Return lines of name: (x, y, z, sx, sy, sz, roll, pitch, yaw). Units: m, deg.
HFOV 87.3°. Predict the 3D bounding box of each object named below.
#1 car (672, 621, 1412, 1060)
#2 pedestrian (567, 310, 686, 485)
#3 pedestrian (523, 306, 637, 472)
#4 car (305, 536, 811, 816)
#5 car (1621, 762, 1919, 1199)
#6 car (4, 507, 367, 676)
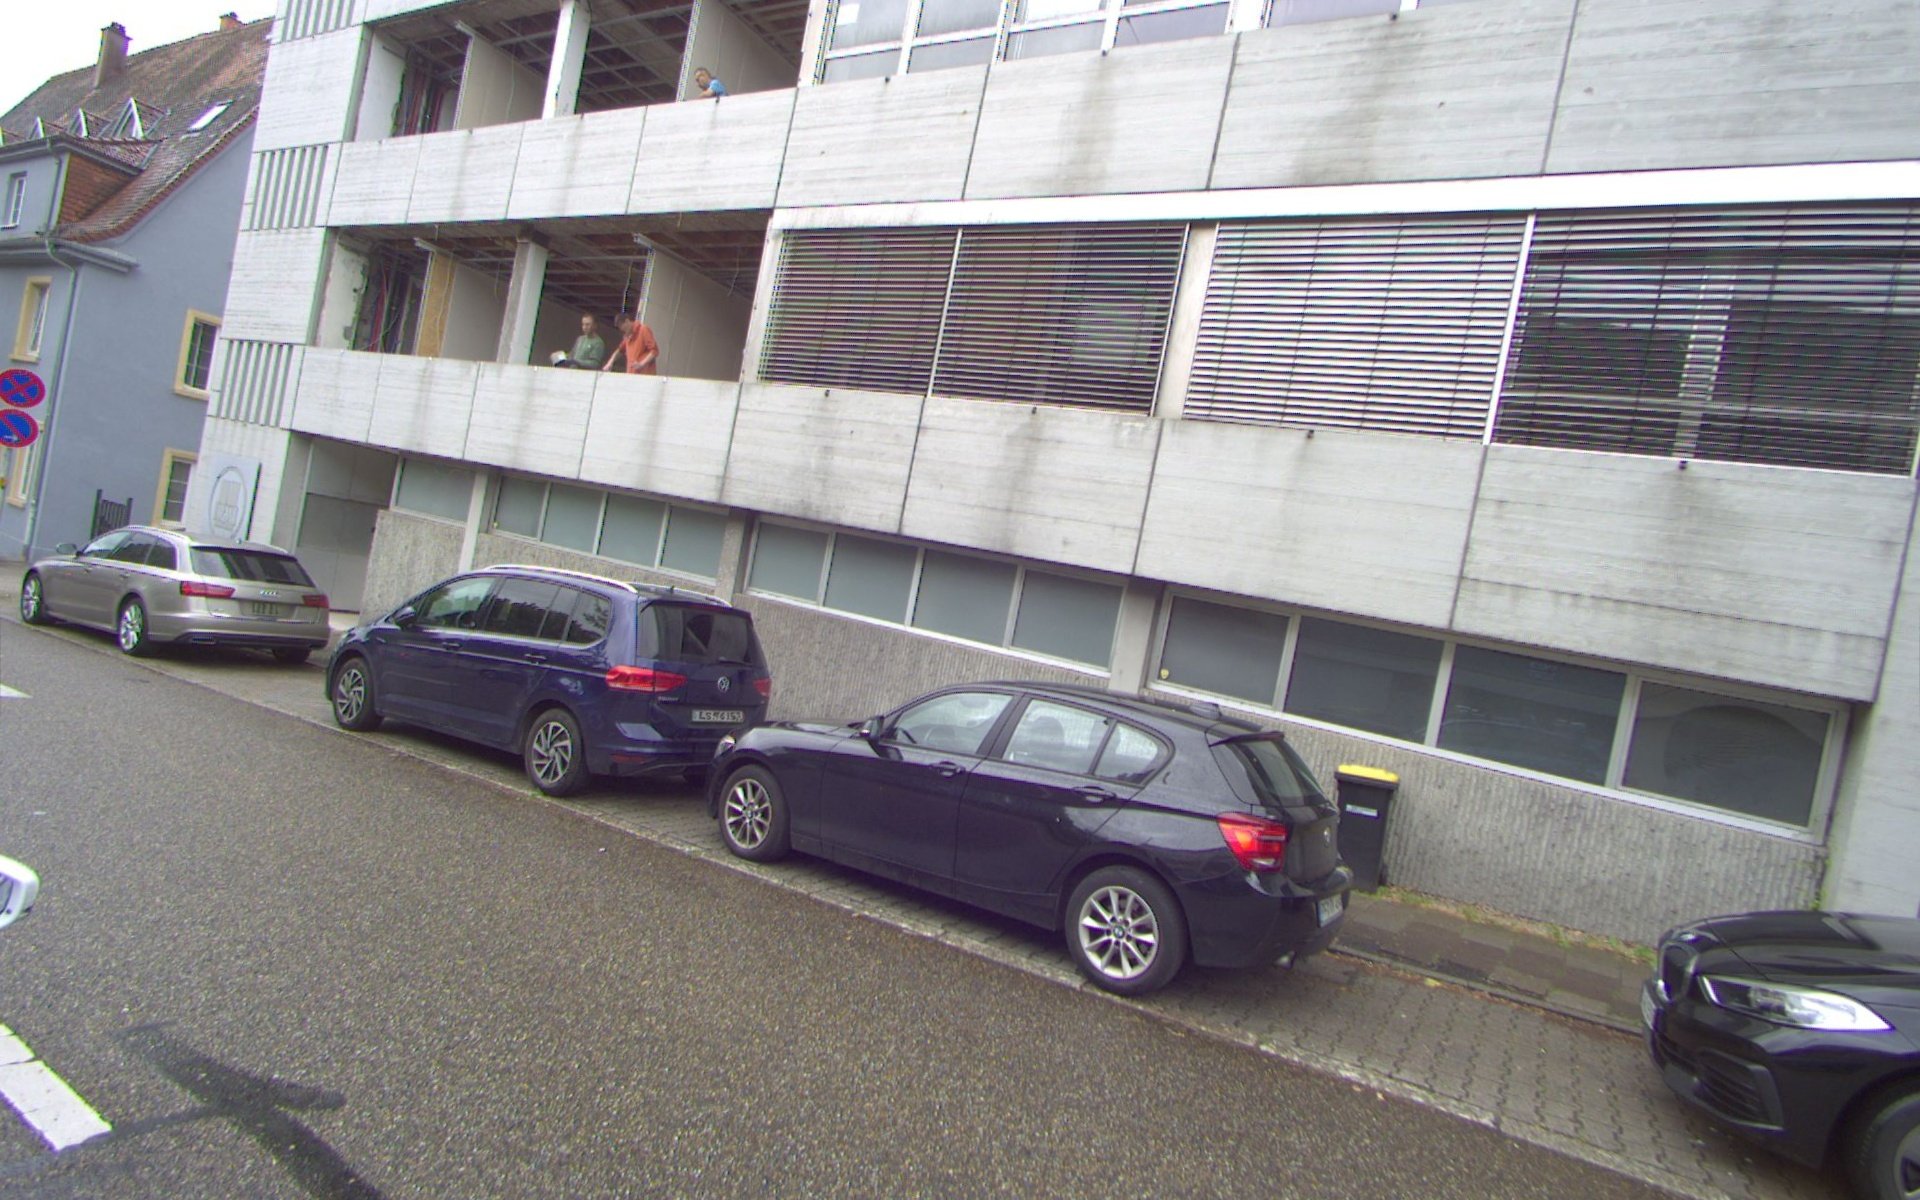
car: (0.344, 1.159, 6.305, 4.183, 1.465, 1.750, 7, -1, 34)
pedestrian: (-4.381, -2.632, 13.256, 0.847, 2.036, 0.909, 6, -2, 31)
pedestrian: (-5.256, -2.888, 13.952, 0.847, 2.036, 0.909, 6, -2, 31)
car: (-3.519, 0.533, 8.646, 4.090, 1.618, 1.732, 7, -1, 30)
car: (5.085, 1.758, 3.508, 4.367, 1.452, 1.997, 7, -1, 30)
car: (-9.796, -0.129, 12.670, 4.449, 1.465, 1.967, 7, -1, 30)
